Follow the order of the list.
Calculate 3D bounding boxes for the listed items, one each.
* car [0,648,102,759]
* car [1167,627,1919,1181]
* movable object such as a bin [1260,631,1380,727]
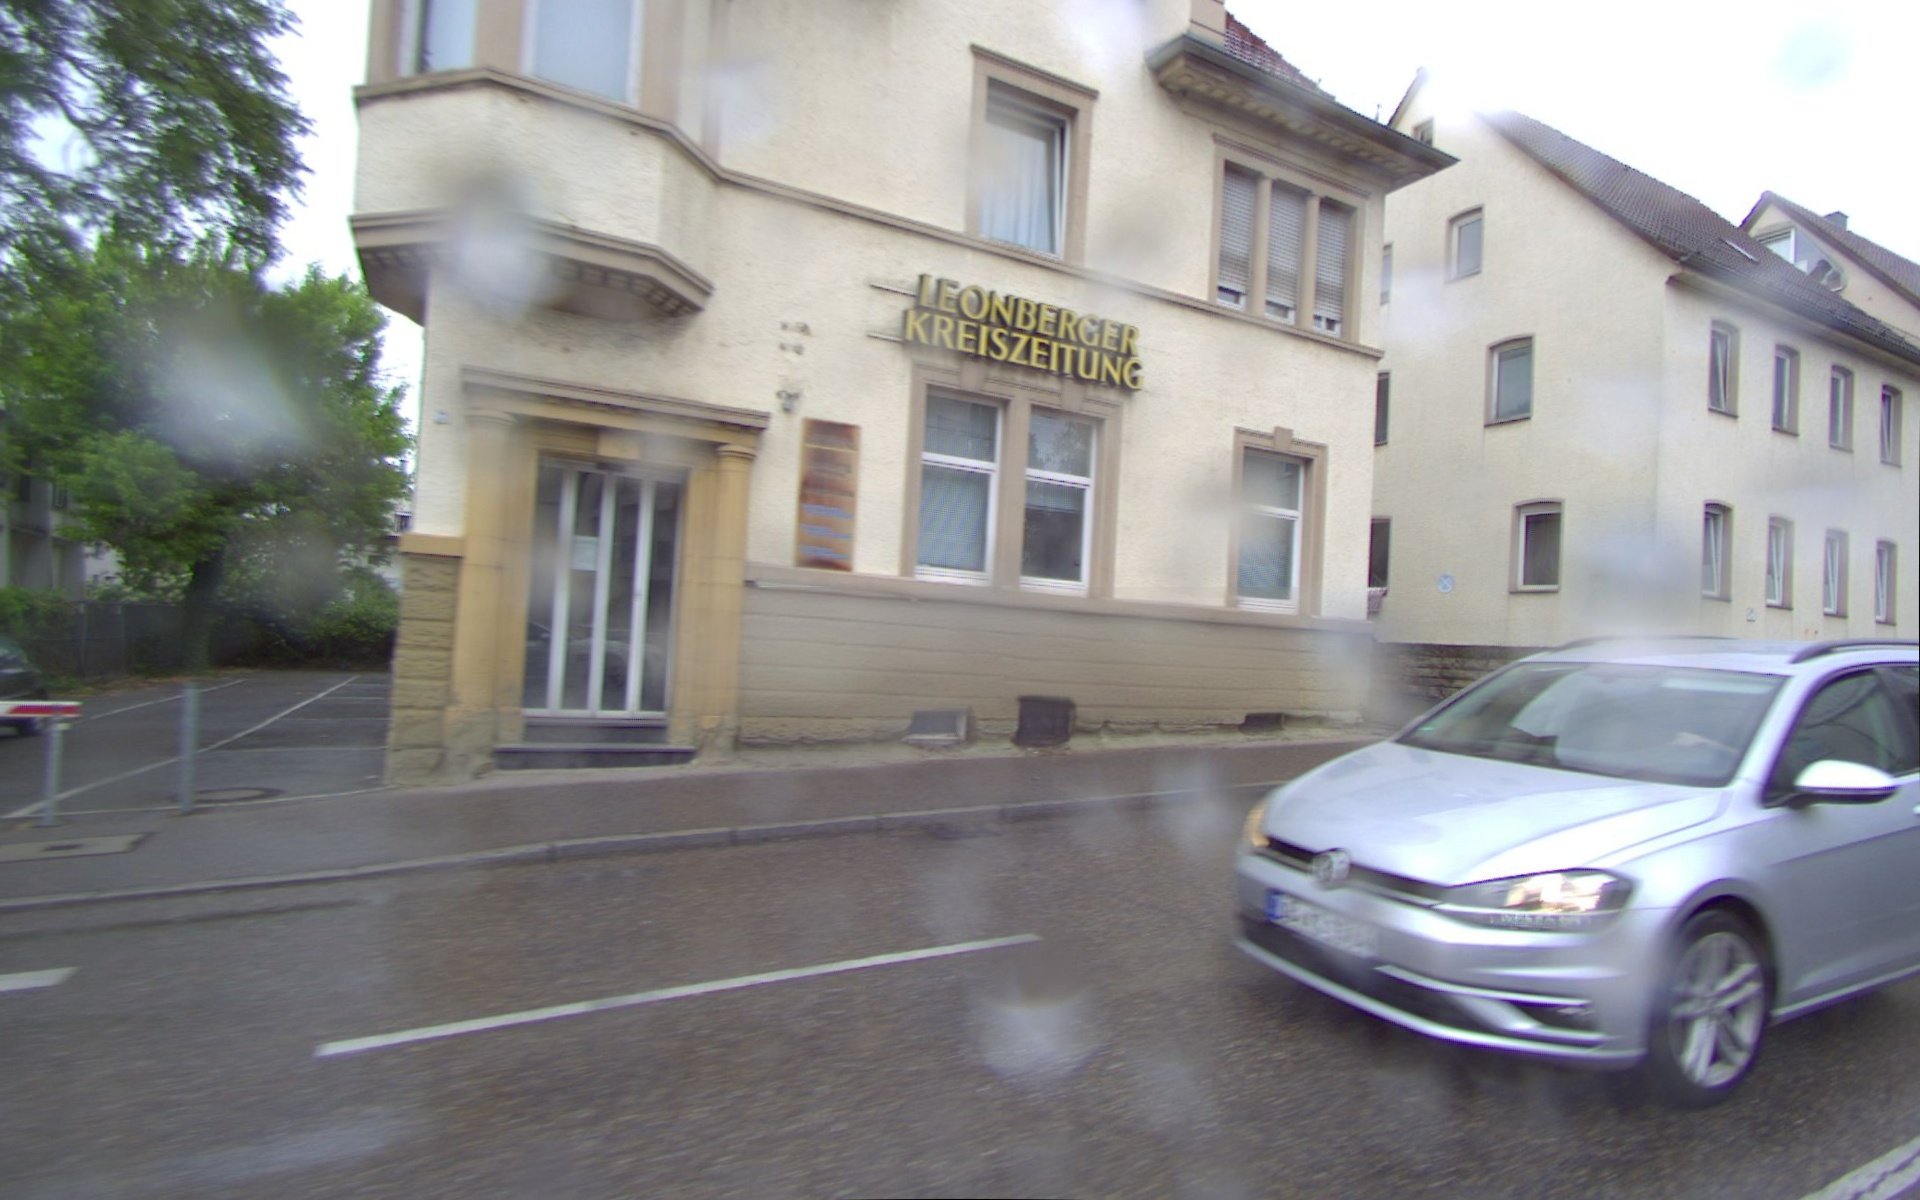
[{"bbox_3d":[-13.048,1.318,12.830,1.758,1.387,3.985,1,-3,-18],"label":"car"},{"bbox_3d":[3.349,0.883,4.547,4.627,1.458,1.793,1,-1,-26],"label":"car"},{"bbox_3d":[5.163,1.103,14.452,1.037,1.283,1.274,1,-1,-28],"label":"movable object such as a bin"}]
